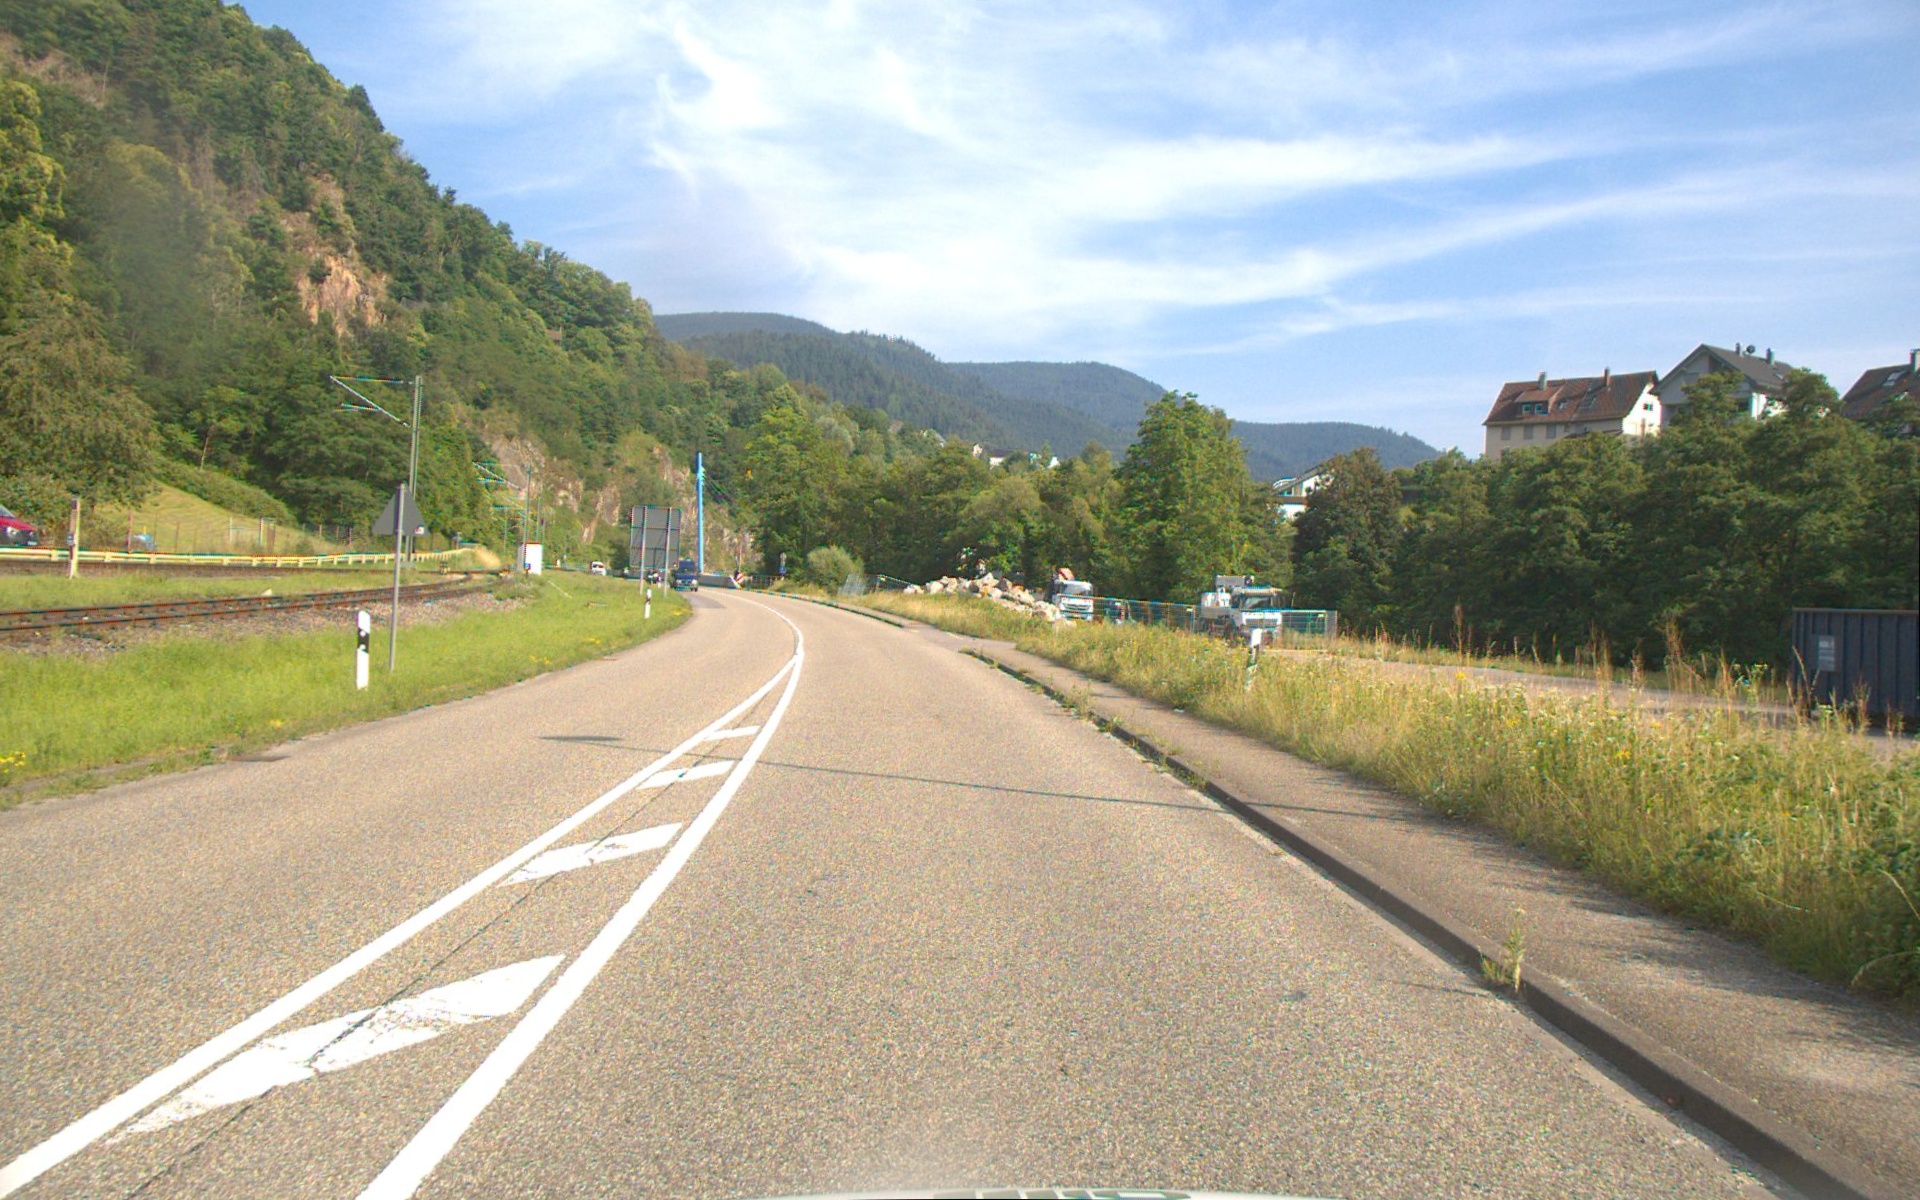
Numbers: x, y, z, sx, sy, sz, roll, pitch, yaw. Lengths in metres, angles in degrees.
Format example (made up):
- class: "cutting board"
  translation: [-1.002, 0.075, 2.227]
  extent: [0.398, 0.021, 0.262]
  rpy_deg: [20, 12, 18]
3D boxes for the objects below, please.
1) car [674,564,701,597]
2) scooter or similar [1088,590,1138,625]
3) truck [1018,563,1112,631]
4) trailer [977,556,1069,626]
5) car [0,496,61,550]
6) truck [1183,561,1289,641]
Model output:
- class: "car"
  translation: [-22.188, -1.607, 134.894]
  extent: [2.088, 2.661, 5.468]
  rpy_deg: [1, 1, -9]
- class: "scooter or similar"
  translation: [9.525, 0.441, 103.081]
  extent: [1.959, 2.049, 3.988]
  rpy_deg: [2, 1, -12]
- class: "truck"
  translation: [6.463, -0.256, 103.587]
  extent: [3.052, 3.847, 8.609]
  rpy_deg: [4, 0, -15]
- class: "trailer"
  translation: [4.167, -0.636, 112.513]
  extent: [3.310, 4.348, 9.868]
  rpy_deg: [4, 0, -15]
- class: "car"
  translation: [-34.350, -2.769, 57.418]
  extent: [4.863, 1.721, 2.456]
  rpy_deg: [3, 0, 0]
- class: "truck"
  translation: [14.399, 0.000, 87.099]
  extent: [3.044, 3.847, 8.632]
  rpy_deg: [4, 0, -7]
